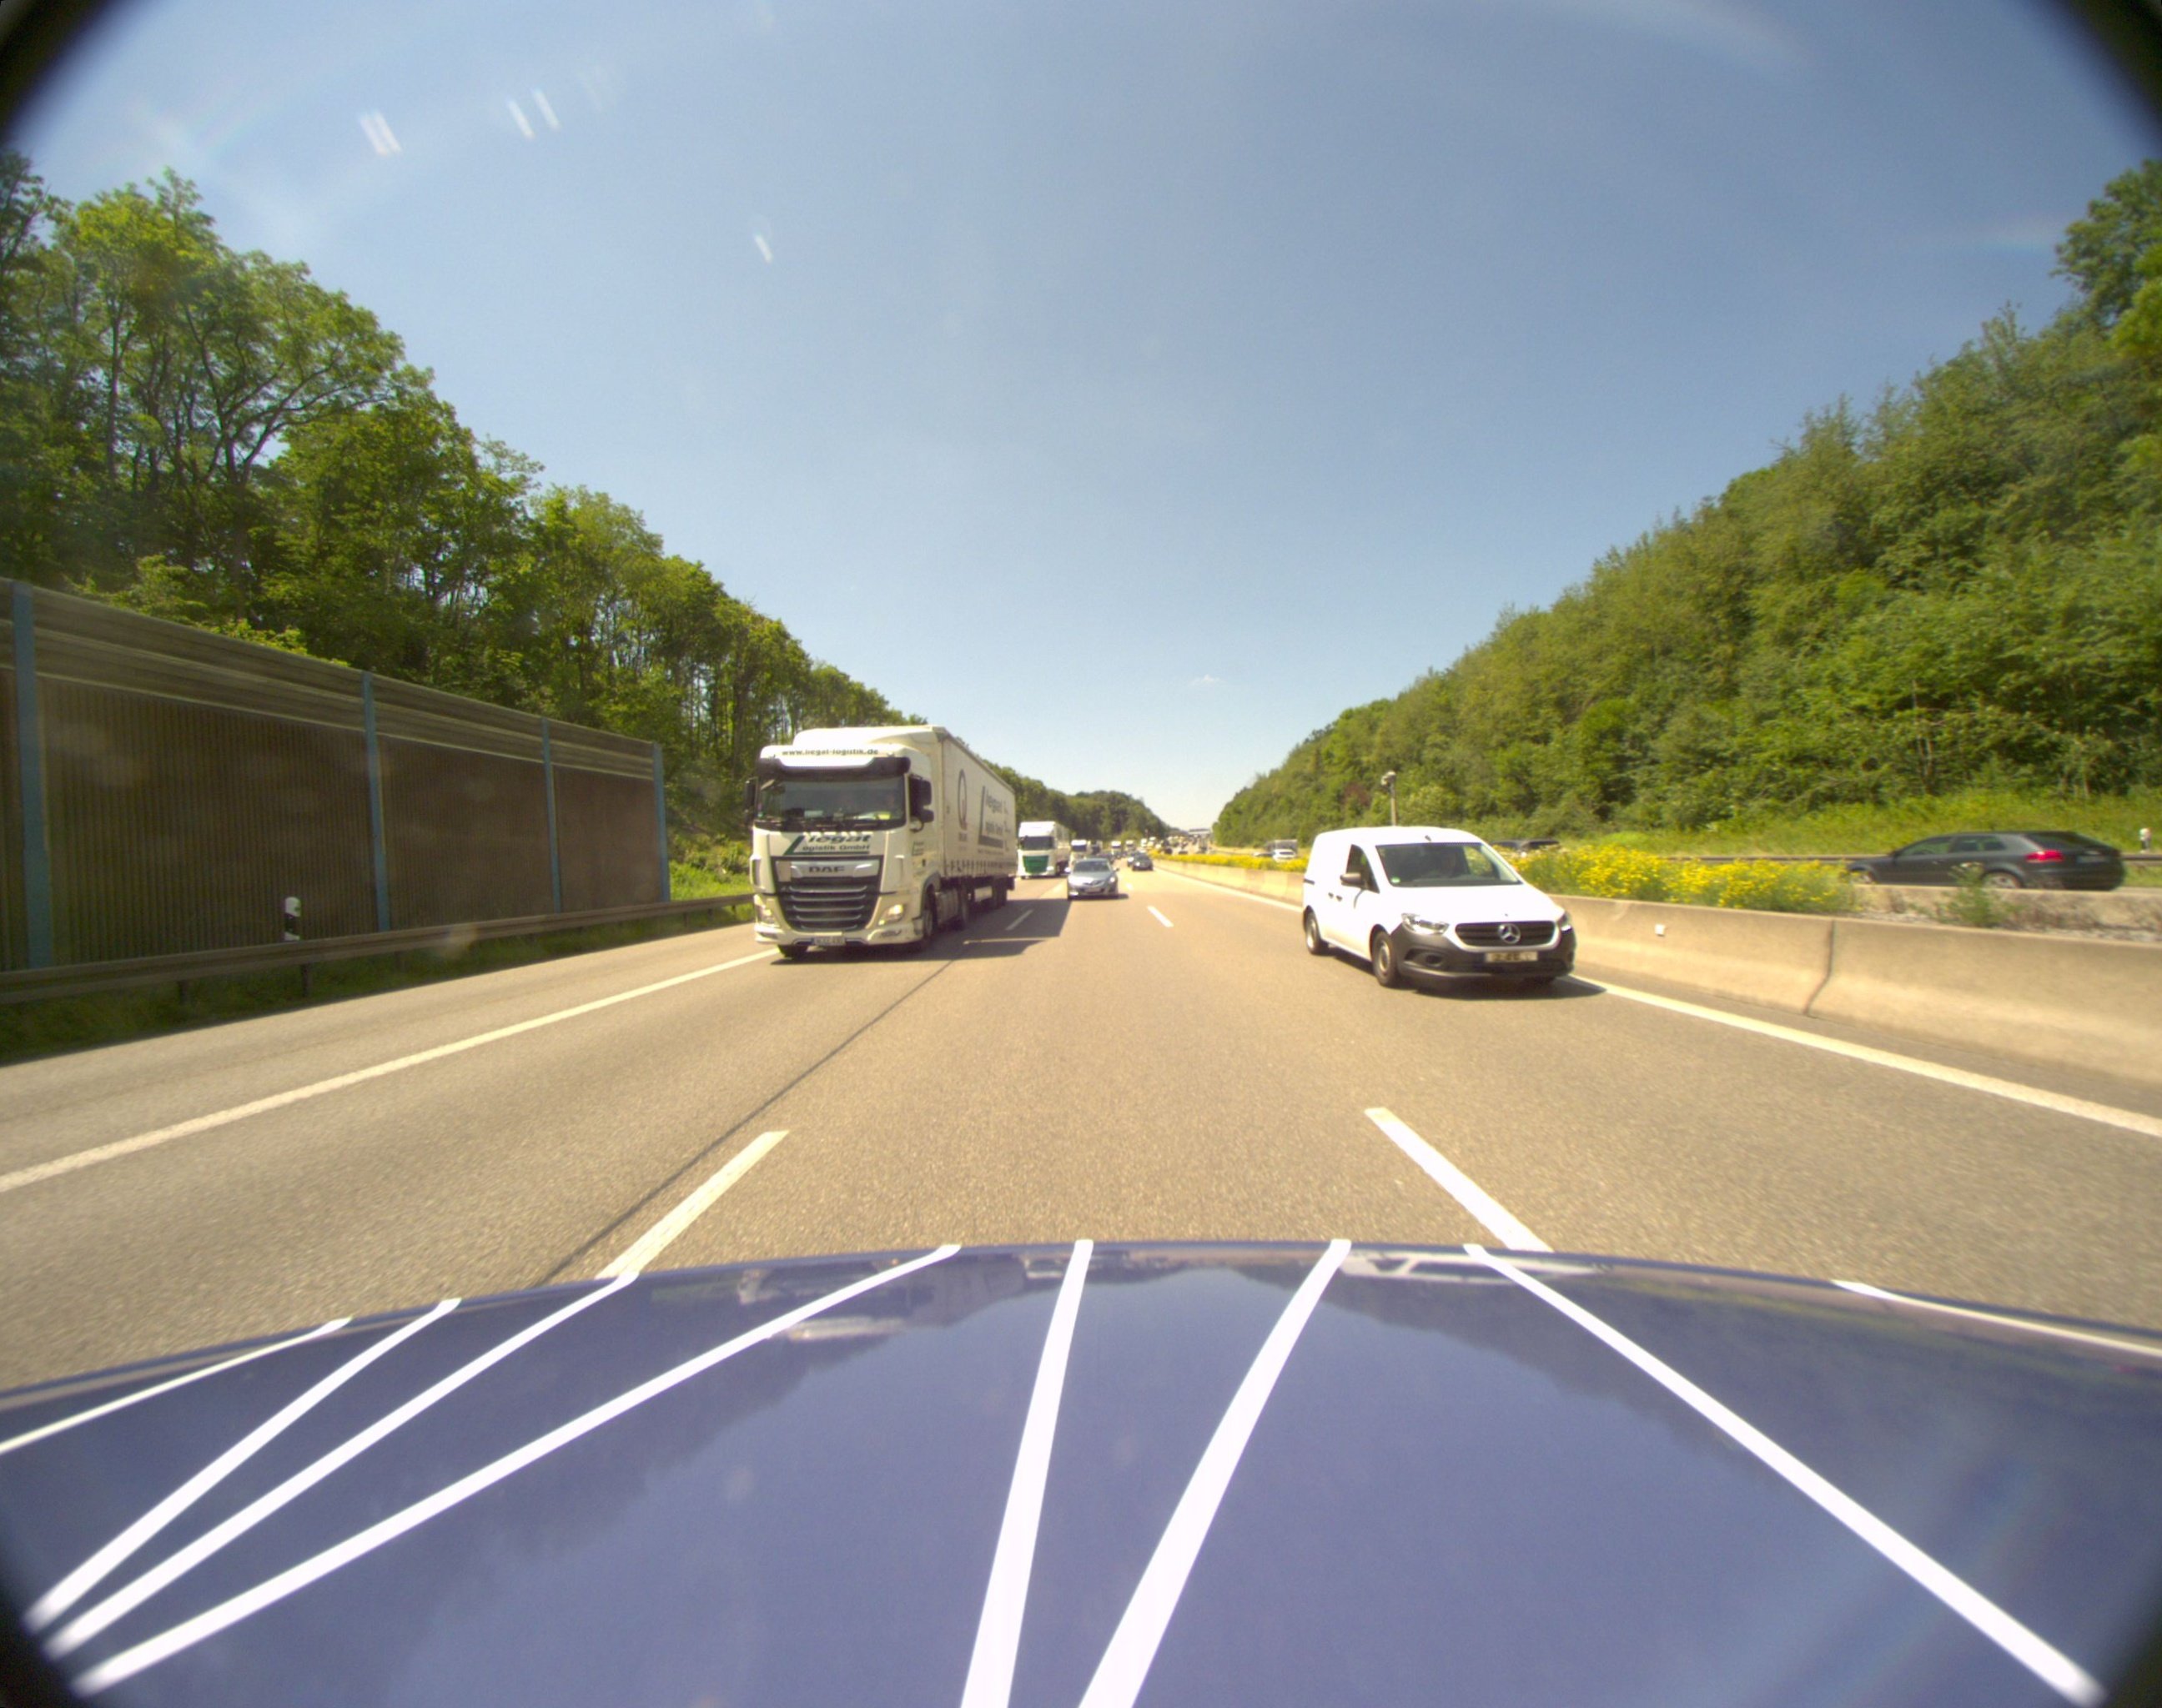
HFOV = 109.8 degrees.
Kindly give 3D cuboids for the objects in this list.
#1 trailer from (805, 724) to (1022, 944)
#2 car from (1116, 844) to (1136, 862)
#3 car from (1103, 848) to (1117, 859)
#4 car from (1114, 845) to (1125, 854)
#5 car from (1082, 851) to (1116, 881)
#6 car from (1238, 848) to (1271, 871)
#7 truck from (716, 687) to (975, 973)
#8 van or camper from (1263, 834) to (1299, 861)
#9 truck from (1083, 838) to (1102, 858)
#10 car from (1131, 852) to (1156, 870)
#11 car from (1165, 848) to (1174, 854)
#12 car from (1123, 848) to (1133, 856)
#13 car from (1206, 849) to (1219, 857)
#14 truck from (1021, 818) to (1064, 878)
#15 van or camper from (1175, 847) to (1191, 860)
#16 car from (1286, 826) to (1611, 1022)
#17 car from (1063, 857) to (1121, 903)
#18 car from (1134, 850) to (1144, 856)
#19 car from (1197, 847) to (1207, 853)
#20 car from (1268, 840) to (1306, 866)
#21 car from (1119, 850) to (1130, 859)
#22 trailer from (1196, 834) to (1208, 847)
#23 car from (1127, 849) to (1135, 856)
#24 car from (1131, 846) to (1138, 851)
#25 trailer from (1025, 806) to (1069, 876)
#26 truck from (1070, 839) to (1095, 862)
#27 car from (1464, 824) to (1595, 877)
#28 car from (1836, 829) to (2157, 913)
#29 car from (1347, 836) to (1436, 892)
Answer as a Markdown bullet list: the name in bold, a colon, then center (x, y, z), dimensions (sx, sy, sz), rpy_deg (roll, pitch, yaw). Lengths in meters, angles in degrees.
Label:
- **trailer**: center (-3.761, -0.338, 21.363), dimensions (2.792, 4.180, 13.245), rpy_deg (-2, 0, 1)
- **car**: center (5.204, -0.130, 88.532), dimensions (1.999, 2.002, 3.999), rpy_deg (-2, 1, -1)
- **car**: center (4.879, -0.103, 127.844), dimensions (1.998, 1.728, 4.001), rpy_deg (-1, 1, 5)
- **car**: center (11.660, -1.434, 229.660), dimensions (2.697, 2.467, 6.586), rpy_deg (-1, 1, 7)
- **car**: center (1.116, 0.701, 46.136), dimensions (1.887, 1.696, 4.085), rpy_deg (-2, 0, 2)
- **car**: center (11.754, 0.364, 51.725), dimensions (1.481, 1.434, 3.563), rpy_deg (-2, 1, 1)
- **truck**: center (-3.929, -0.327, 14.274), dimensions (2.792, 4.180, 5.870), rpy_deg (-2, 0, 1)
- **van or camper**: center (20.655, -0.720, 78.771), dimensions (2.191, 2.546, 6.931), rpy_deg (-2, 1, 2)
- **truck**: center (2.338, -1.267, 151.244), dimensions (3.557, 3.695, 7.551), rpy_deg (-2, 1, 3)
- **car**: center (5.511, 0.591, 67.577), dimensions (1.720, 1.470, 3.999), rpy_deg (-2, 0, -1)
- **car**: center (21.909, -0.770, 187.933), dimensions (1.998, 1.464, 4.875), rpy_deg (-1, 1, 5)
- **car**: center (11.353, -0.473, 182.915), dimensions (1.997, 1.728, 4.001), rpy_deg (-1, 1, 7)
- **car**: center (25.045, -0.202, 144.491), dimensions (1.998, 1.607, 4.485), rpy_deg (-2, 0, 4)
- **truck**: center (-2.712, -0.481, 54.993), dimensions (2.542, 4.006, 6.624), rpy_deg (-2, 1, 1)
- **van or camper**: center (15.961, -0.115, 118.531), dimensions (1.887, 2.002, 4.587), rpy_deg (-2, 1, 1)
- **car**: center (4.086, 0.654, 9.474), dimensions (1.769, 1.802, 4.674), rpy_deg (-2, 0, 0)
- **car**: center (0.449, 0.884, 27.583), dimensions (1.887, 1.458, 4.248), rpy_deg (-2, 0, 2)
- **car**: center (13.286, -0.235, 174.289), dimensions (1.997, 1.426, 4.002), rpy_deg (-2, 1, 7)
- **car**: center (30.166, -0.941, 189.791), dimensions (1.998, 1.434, 4.171), rpy_deg (-2, 1, 2)
- **car**: center (16.675, -0.106, 61.629), dimensions (1.998, 2.002, 4.567), rpy_deg (-2, 1, 3)
- **car**: center (9.010, 0.060, 157.469), dimensions (1.998, 1.728, 4.001), rpy_deg (-1, 1, 5)
- **trailer**: center (39.869, -4.482, 250.018), dimensions (2.721, 4.184, 13.934), rpy_deg (-1, 1, 4)
- **car**: center (13.825, -0.414, 209.357), dimensions (1.997, 1.728, 4.001), rpy_deg (-1, 1, 7)
- **car**: center (17.400, -1.796, 247.250), dimensions (1.997, 1.728, 4.001), rpy_deg (-1, 1, 7)
- **trailer**: center (-2.595, -1.110, 63.079), dimensions (2.574, 5.011, 15.269), rpy_deg (-2, 1, 1)
- **truck**: center (0.311, -0.575, 114.630), dimensions (3.262, 3.337, 6.864), rpy_deg (-1, 1, 4)
- **car**: center (15.056, -0.145, 25.806), dimensions (1.998, 1.581, 4.162), rpy_deg (-2, 1, 1)
- **car**: center (18.334, 0.269, 15.568), dimensions (1.792, 1.448, 3.999), rpy_deg (-2, 1, 1)
- **car**: center (12.110, 0.337, 29.912), dimensions (1.998, 2.002, 4.000), rpy_deg (-2, 1, 3)
